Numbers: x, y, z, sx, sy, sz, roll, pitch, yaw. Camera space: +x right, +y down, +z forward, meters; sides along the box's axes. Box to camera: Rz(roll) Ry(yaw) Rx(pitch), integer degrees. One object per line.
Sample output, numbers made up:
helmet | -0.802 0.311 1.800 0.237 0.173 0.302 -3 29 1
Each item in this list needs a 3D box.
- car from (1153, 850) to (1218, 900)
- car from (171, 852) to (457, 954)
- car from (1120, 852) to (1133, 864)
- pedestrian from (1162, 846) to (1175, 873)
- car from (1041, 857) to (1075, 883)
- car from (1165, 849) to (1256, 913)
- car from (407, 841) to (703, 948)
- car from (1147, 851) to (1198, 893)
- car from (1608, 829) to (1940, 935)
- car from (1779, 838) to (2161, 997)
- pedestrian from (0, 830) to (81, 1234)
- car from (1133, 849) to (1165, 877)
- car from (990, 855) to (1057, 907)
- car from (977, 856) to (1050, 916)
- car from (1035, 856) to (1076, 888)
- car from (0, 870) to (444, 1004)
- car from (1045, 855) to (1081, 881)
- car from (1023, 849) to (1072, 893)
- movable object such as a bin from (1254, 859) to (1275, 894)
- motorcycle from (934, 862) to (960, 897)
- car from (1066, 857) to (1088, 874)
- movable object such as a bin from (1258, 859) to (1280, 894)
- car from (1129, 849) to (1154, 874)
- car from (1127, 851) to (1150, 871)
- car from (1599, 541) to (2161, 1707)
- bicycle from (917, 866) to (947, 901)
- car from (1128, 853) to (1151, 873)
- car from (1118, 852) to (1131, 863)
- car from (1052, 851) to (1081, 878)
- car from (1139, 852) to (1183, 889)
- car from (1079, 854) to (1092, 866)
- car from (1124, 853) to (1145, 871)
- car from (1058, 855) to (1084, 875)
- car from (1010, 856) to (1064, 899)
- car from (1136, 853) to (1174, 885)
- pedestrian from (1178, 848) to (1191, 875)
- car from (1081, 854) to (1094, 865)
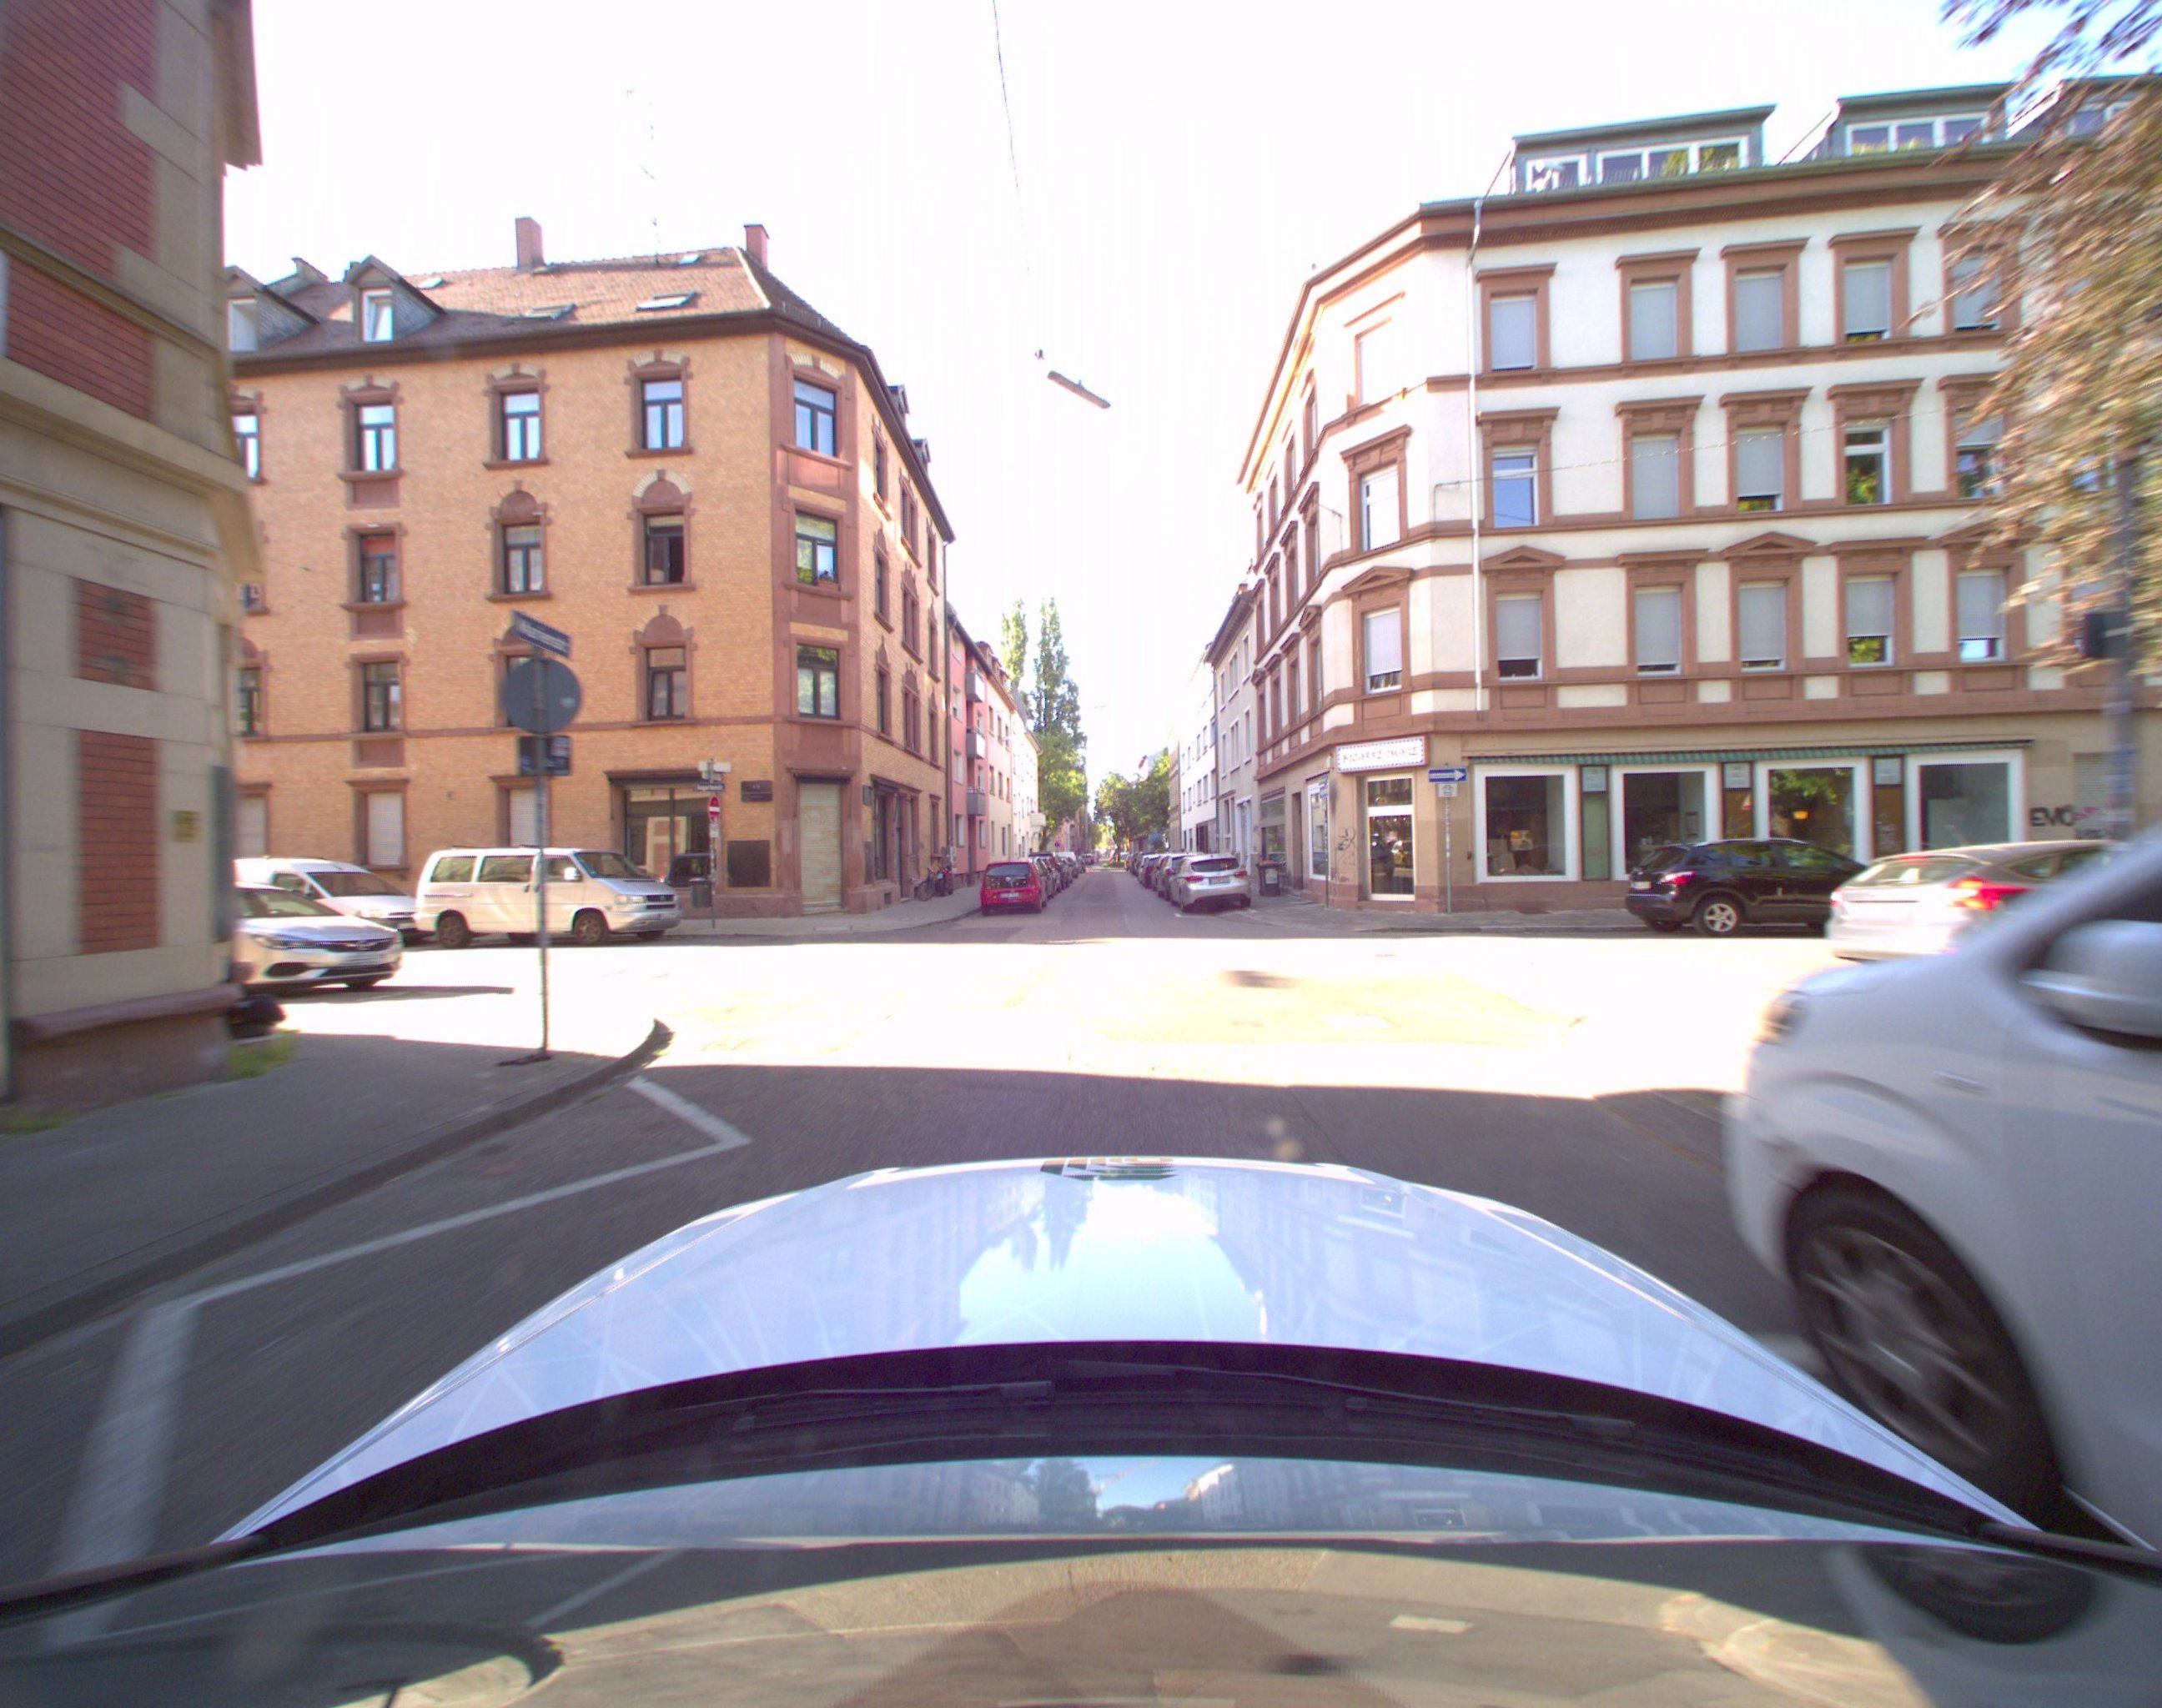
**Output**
car | 3.508 0.660 27.975 1.738 1.506 4.022 -3 0 1
car | -15.703 1.007 16.805 4.325 1.894 1.944 -2 -3 8
car | 6.317 0.580 112.893 1.670 1.487 3.638 -3 0 1
pedestrian | 5.455 0.361 50.830 0.683 1.660 0.718 -2 0 1
car | -1.329 0.932 48.559 1.667 1.388 4.183 -3 0 1
car | 3.495 0.674 22.730 1.739 1.506 4.356 -3 0 -1
car | -10.332 0.806 16.197 4.686 1.894 2.030 -2 -2 7
car | 3.676 0.670 33.221 1.593 1.506 4.185 -3 0 1
car | 11.471 0.485 13.761 3.897 1.608 1.765 -1 -2 8
car | 9.899 0.603 8.293 3.900 1.439 1.800 -1 -2 5
pedestrian | -4.688 0.723 3.206 0.546 1.644 0.717 -1 -2 1
car | 4.501 0.586 54.381 1.670 1.627 4.251 -5 0 1
car | -1.887 0.861 28.000 1.688 1.521 4.100 -3 0 3
car | -1.841 0.853 23.244 1.622 1.481 3.602 -3 0 1
car | -1.311 0.921 43.525 1.736 1.506 4.350 -3 0 3
car | -11.145 1.038 10.604 4.403 1.530 1.871 -1 -3 7
car | -1.145 0.882 52.950 1.664 1.486 3.999 -3 0 7
car | -1.511 0.740 38.317 1.736 1.811 4.676 -3 0 3
movable object such as a bin | 5.822 0.710 25.849 0.512 1.039 0.594 -3 0 2
motorcycle | -4.831 0.907 29.461 0.531 1.206 1.909 -1 0 2
car | -0.323 0.958 70.472 1.664 1.361 4.050 -3 0 1
movable object such as a bin | 5.795 0.697 25.096 0.512 1.039 0.620 -3 0 2
car | 4.410 0.578 59.926 1.669 1.681 4.097 -3 -1 3
car | 4.881 0.592 69.009 1.670 1.561 3.797 -3 0 1
car | 2.644 0.458 0.386 1.906 1.998 4.797 -3 0 4
bicycle | -4.927 0.969 27.043 0.531 1.074 1.892 3 0 2
car | 4.595 0.702 64.798 1.561 1.483 3.620 -3 0 1
car | 6.402 0.501 119.332 1.670 1.487 3.638 -3 0 1
car | -1.003 0.697 57.482 1.759 1.785 4.040 -3 0 1
car | 3.667 0.724 37.952 1.670 1.506 3.938 -3 0 1
car | 0.605 0.788 111.662 1.670 1.487 4.095 -3 0 1
car | 4.840 0.687 73.917 1.670 1.487 4.095 -3 0 1
car | -0.803 0.864 66.360 1.662 1.469 3.825 -3 0 5
car | -1.724 0.900 32.838 1.649 1.521 3.948 -3 0 3
car | 3.833 0.736 42.694 1.670 1.506 3.938 -3 0 1
pedestrian | 6.414 0.441 50.582 0.683 1.660 0.718 -2 0 1
car | 0.922 0.799 116.810 1.670 1.487 4.095 -3 0 1
